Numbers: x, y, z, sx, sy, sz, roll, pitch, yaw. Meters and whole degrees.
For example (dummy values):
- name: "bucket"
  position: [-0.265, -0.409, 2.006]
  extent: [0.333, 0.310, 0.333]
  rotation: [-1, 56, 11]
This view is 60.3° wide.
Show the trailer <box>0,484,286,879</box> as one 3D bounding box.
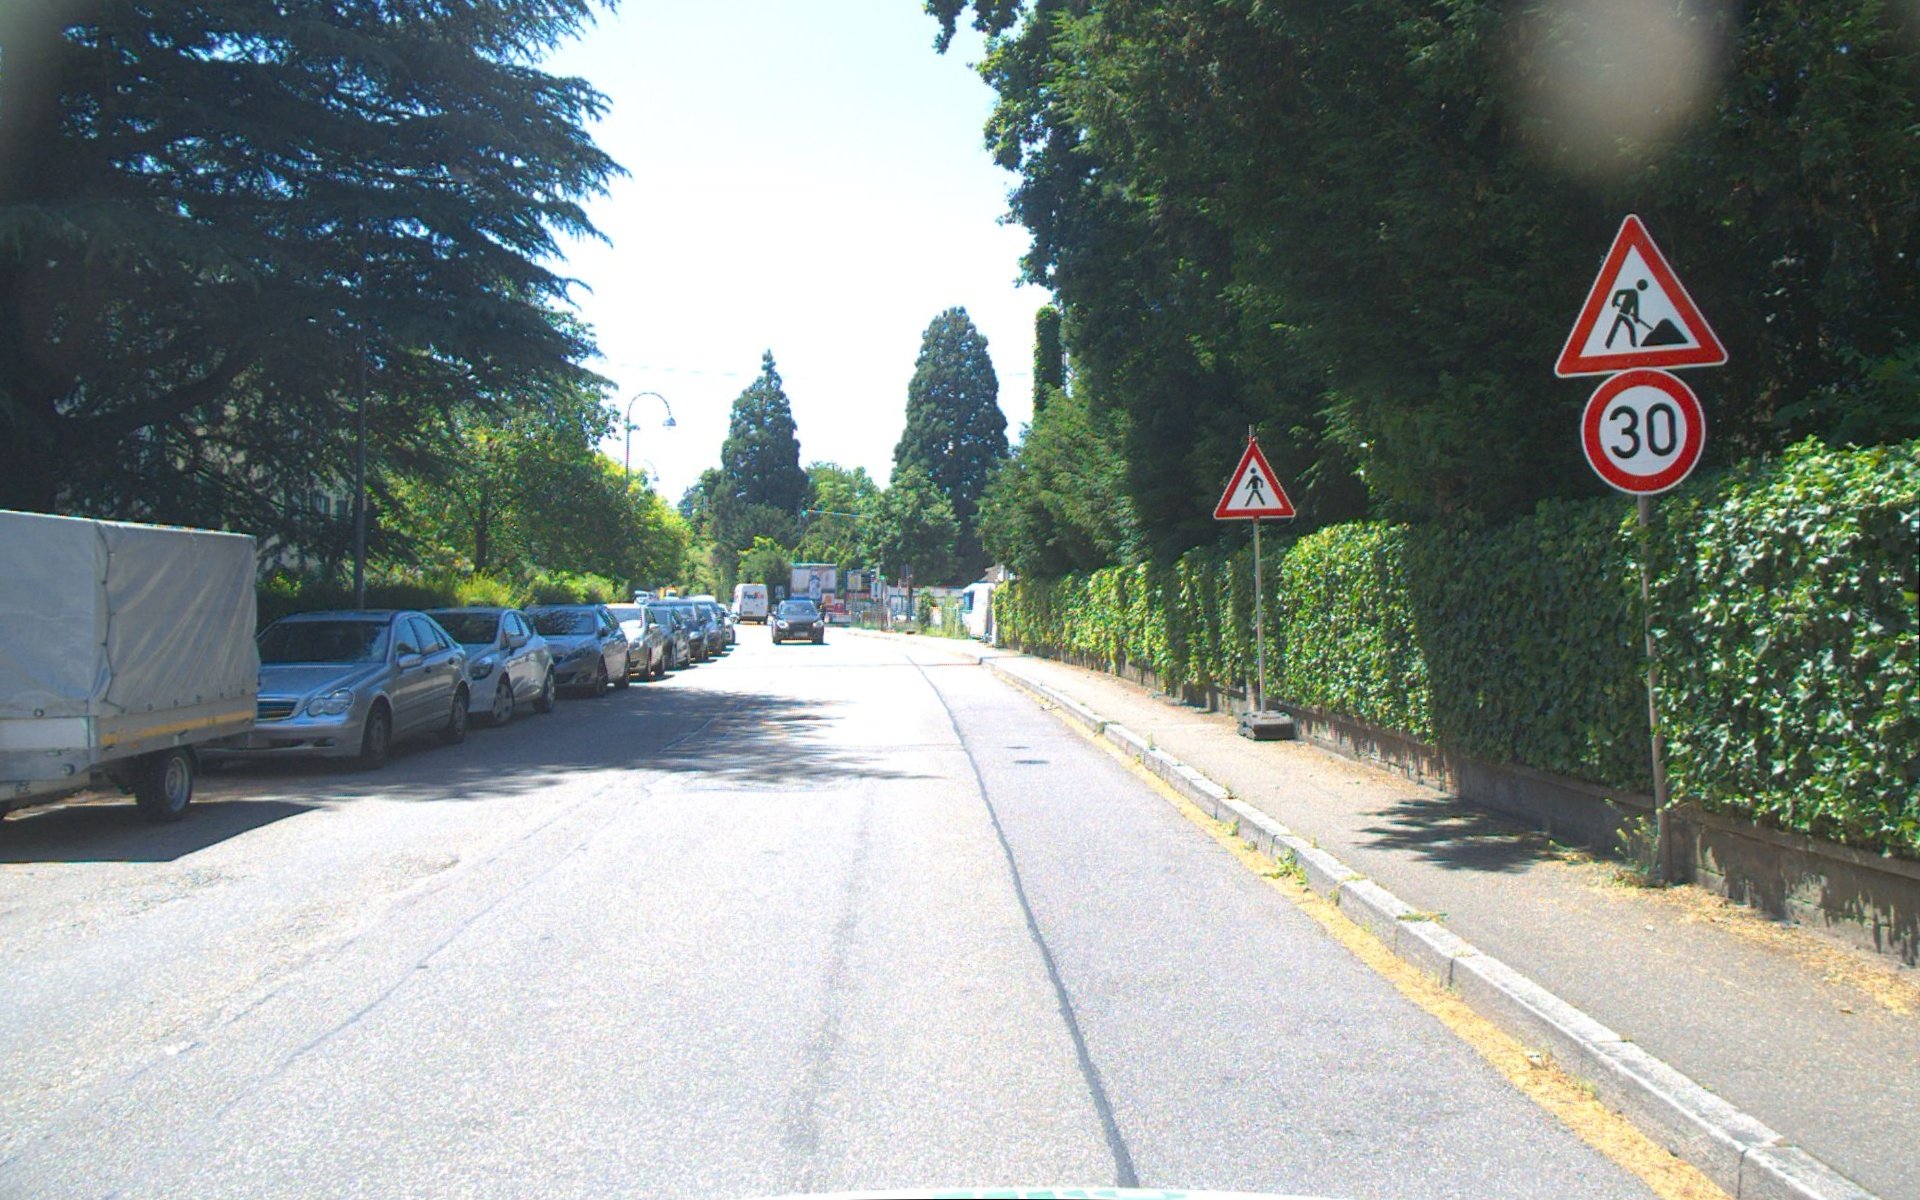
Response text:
- name: "trailer"
  position: [-6.035, 0.462, 10.706]
  extent: [1.811, 2.076, 4.160]
  rotation: [-1, -1, -3]

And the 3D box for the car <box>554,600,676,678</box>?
- name: "car"
  position: [-6.863, 0.750, 33.247]
  extent: [1.654, 1.470, 4.134]
  rotation: [0, -1, -1]

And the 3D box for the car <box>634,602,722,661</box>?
- name: "car"
  position: [-7.339, 0.817, 43.380]
  extent: [1.654, 1.470, 4.134]
  rotation: [0, -1, -1]

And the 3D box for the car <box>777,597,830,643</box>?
- name: "car"
  position: [-5.646, 0.731, 59.990]
  extent: [1.816, 1.612, 4.131]
  rotation: [0, -1, -4]

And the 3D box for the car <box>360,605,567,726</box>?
- name: "car"
  position: [-6.286, 0.775, 21.335]
  extent: [1.550, 1.414, 3.882]
  rotation: [0, 0, -1]

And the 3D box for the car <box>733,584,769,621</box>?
- name: "car"
  position: [-13.739, 0.142, 108.432]
  extent: [2.105, 2.356, 4.840]
  rotation: [0, 0, -11]

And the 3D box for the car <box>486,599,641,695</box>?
- name: "car"
  position: [-6.519, 0.727, 27.580]
  extent: [1.654, 1.470, 4.134]
  rotation: [0, 0, -1]

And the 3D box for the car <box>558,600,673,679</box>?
- name: "car"
  position: [-6.873, 0.762, 33.324]
  extent: [1.655, 1.474, 3.997]
  rotation: [1, 0, -3]

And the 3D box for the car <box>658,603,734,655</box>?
- name: "car"
  position: [-7.711, 0.847, 48.671]
  extent: [1.654, 1.470, 4.134]
  rotation: [0, -1, -1]

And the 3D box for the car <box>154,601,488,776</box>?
- name: "car"
  position: [-6.080, 0.777, 16.313]
  extent: [1.675, 1.464, 4.321]
  rotation: [-1, -1, -1]

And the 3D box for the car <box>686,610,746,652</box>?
- name: "car"
  position: [-8.899, 1.112, 60.658]
  extent: [1.654, 1.470, 4.134]
  rotation: [0, -1, -1]

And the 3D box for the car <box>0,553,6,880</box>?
- name: "car"
  position: [-5.794, 0.596, 6.275]
  extent: [1.814, 1.700, 4.709]
  rotation: [-1, -1, -3]
